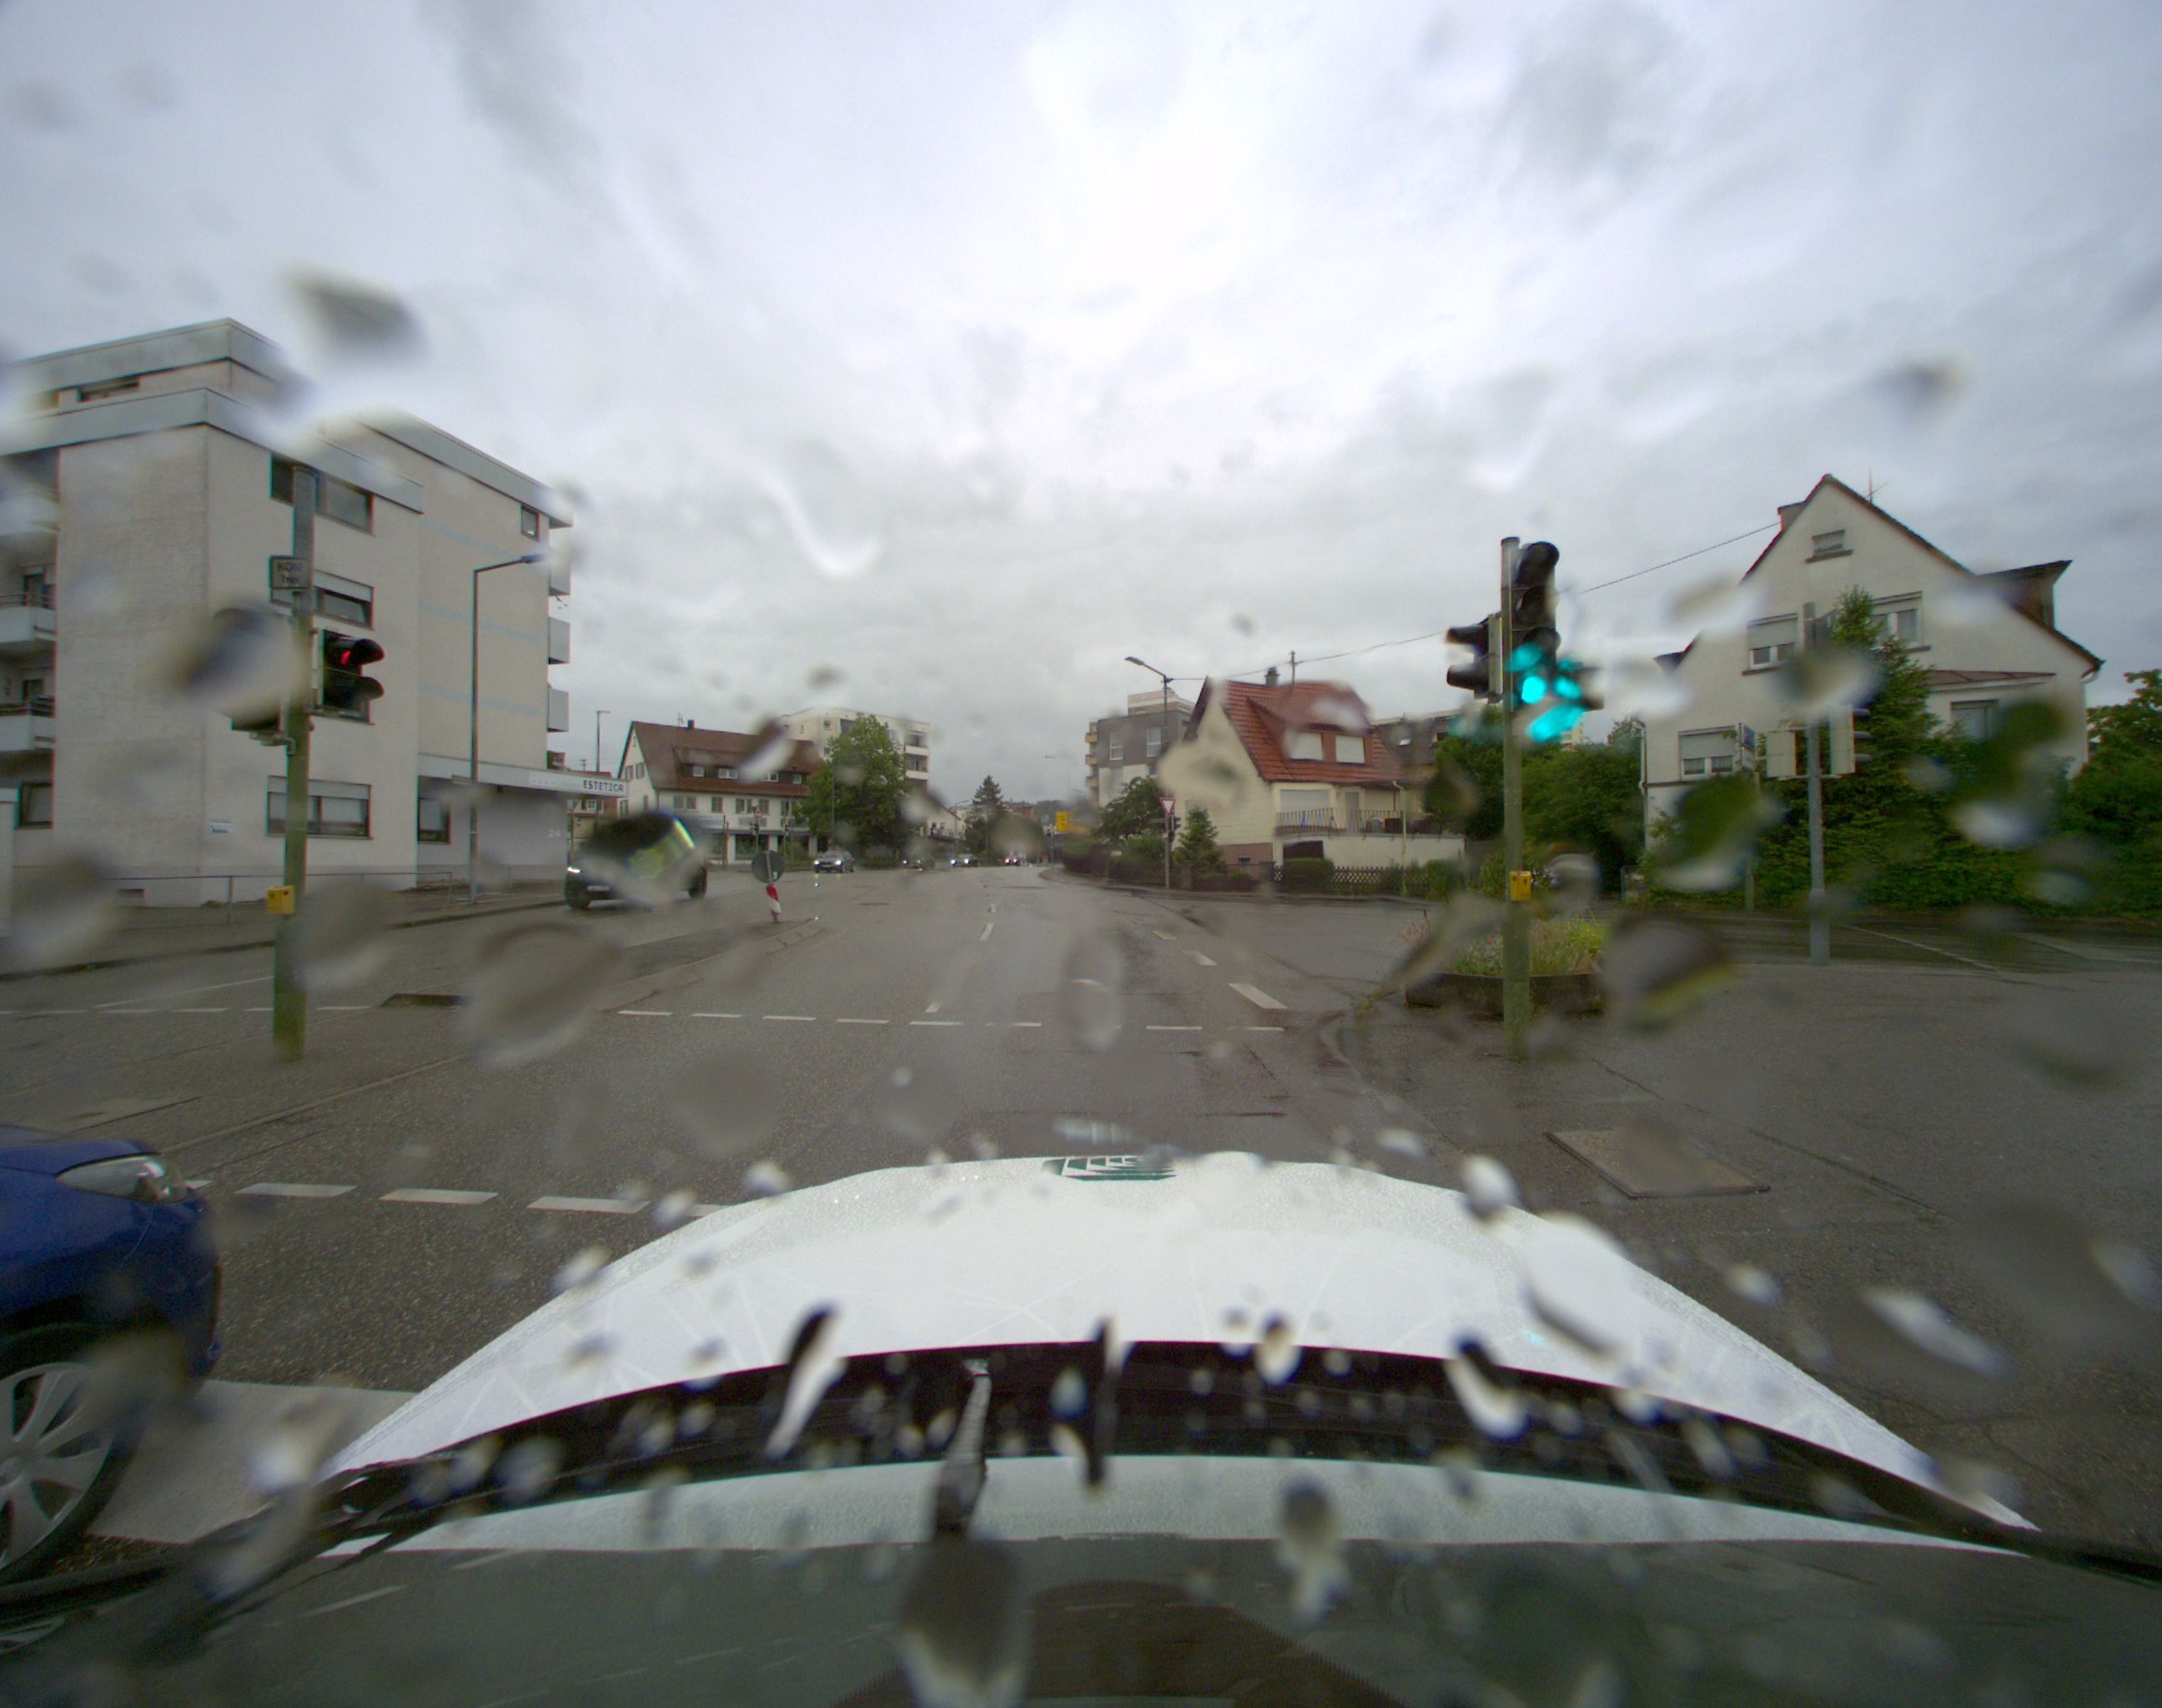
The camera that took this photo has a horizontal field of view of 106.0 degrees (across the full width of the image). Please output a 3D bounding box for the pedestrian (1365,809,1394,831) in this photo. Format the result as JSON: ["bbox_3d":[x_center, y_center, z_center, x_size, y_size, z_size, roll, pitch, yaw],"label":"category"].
[{"bbox_3d":[12.776,-1.446,34.868,0.918,0.883,0.632,0,-3,-18],"label":"pedestrian"}]

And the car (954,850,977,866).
[{"bbox_3d":[-12.138,0.438,85.599,1.989,1.679,3.996,0,-1,-3],"label":"car"}]

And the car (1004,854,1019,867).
[{"bbox_3d":[-9.912,0.927,116.854,1.989,1.812,3.996,0,-1,-3],"label":"car"}]

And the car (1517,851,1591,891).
[{"bbox_3d":[17.118,0.586,29.384,1.794,1.362,4.025,-1,-1,37],"label":"car"}]

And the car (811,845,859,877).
[{"bbox_3d":[-15.465,0.436,51.414,1.989,1.904,3.996,0,-1,-3],"label":"car"}]

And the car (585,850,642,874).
[{"bbox_3d":[-38.439,0.624,66.986,3.706,1.920,1.864,0,-1,-44],"label":"car"}]

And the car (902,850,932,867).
[{"bbox_3d":[-14.561,0.433,72.566,1.989,1.463,3.996,0,0,-3],"label":"car"}]

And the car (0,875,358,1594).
[{"bbox_3d":[-2.942,0.782,0.737,1.499,1.413,3.365,0,0,2],"label":"car"}]

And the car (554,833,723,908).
[{"bbox_3d":[-11.530,0.400,21.728,1.990,1.737,5.173,0,0,-4],"label":"car"}]

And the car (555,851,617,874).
[{"bbox_3d":[-41.213,0.664,67.809,4.093,1.843,1.864,0,-1,-44],"label":"car"}]
